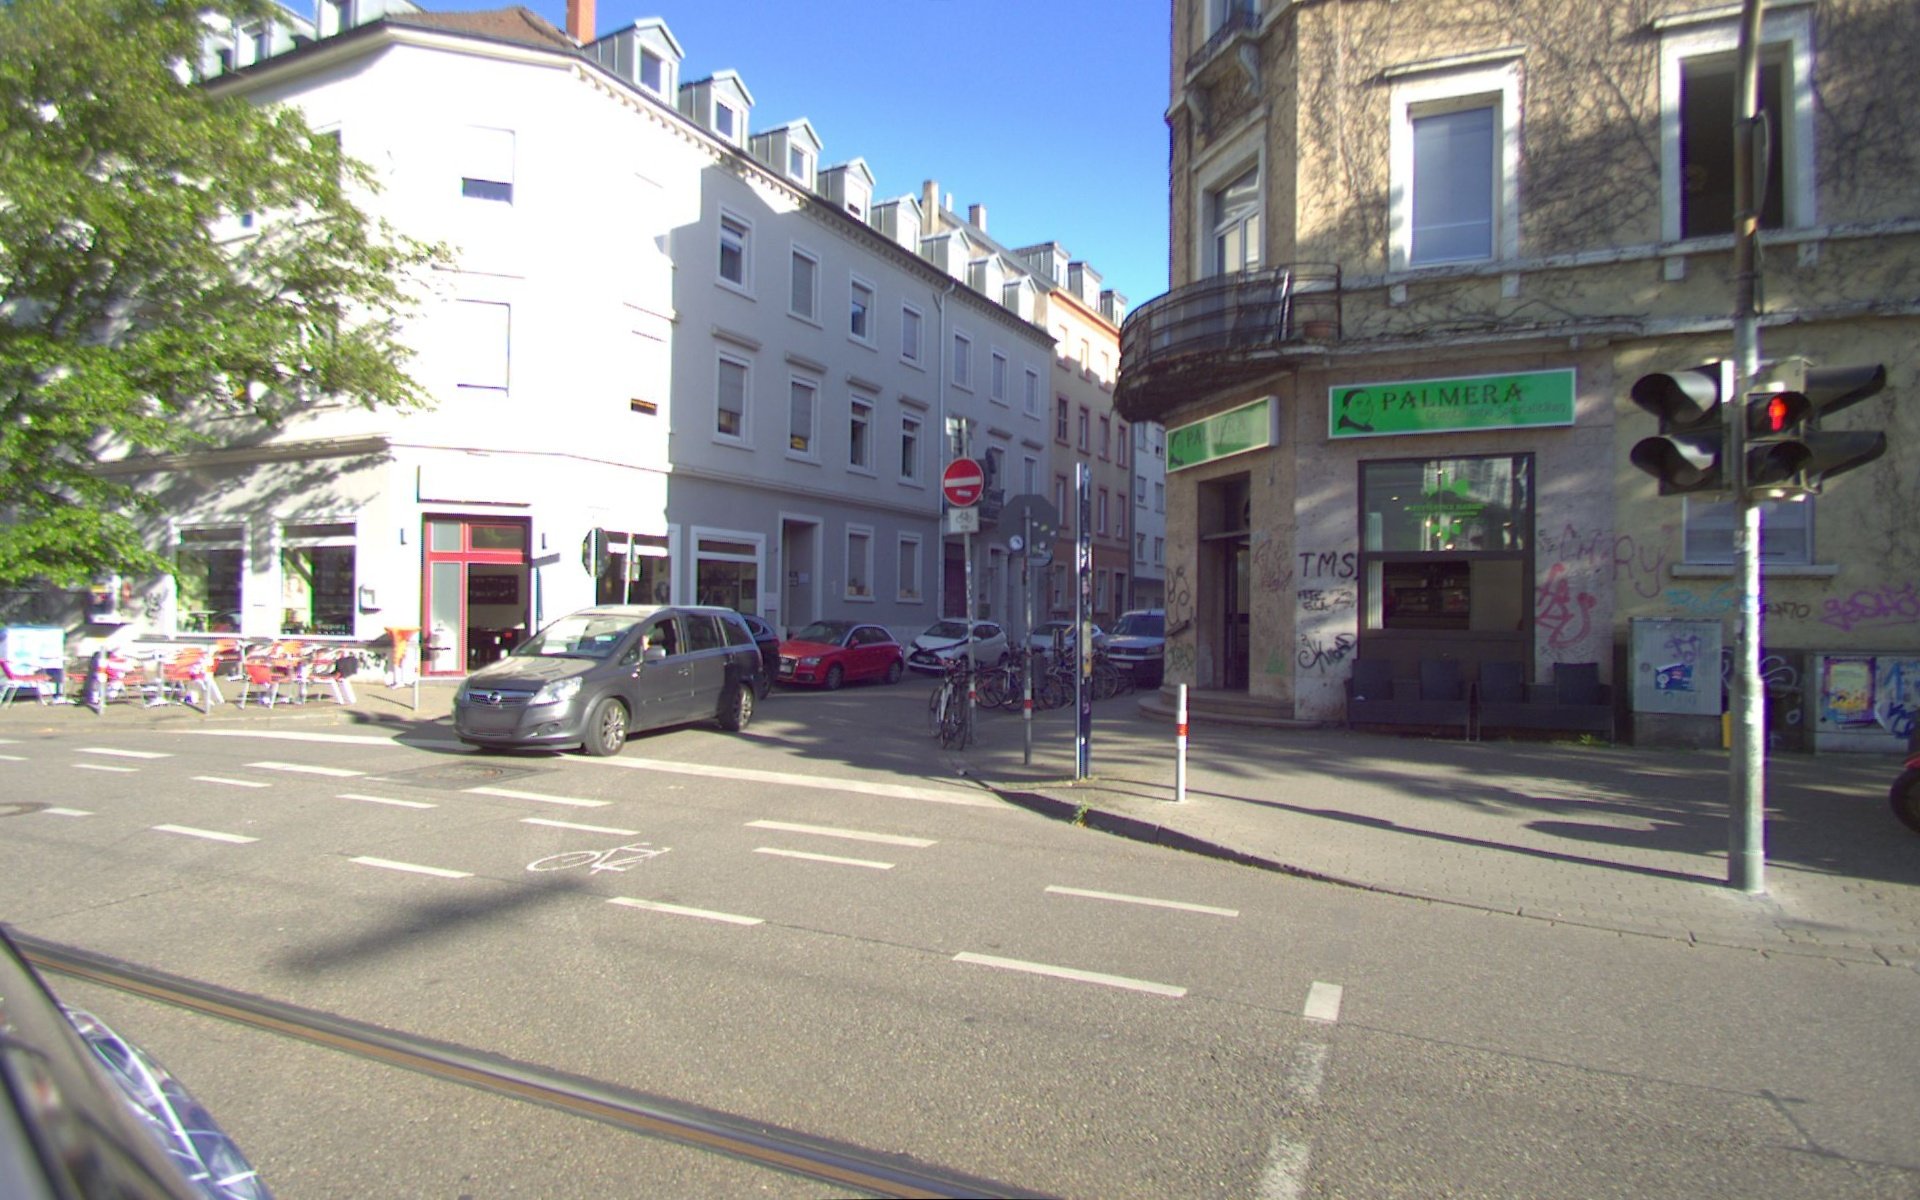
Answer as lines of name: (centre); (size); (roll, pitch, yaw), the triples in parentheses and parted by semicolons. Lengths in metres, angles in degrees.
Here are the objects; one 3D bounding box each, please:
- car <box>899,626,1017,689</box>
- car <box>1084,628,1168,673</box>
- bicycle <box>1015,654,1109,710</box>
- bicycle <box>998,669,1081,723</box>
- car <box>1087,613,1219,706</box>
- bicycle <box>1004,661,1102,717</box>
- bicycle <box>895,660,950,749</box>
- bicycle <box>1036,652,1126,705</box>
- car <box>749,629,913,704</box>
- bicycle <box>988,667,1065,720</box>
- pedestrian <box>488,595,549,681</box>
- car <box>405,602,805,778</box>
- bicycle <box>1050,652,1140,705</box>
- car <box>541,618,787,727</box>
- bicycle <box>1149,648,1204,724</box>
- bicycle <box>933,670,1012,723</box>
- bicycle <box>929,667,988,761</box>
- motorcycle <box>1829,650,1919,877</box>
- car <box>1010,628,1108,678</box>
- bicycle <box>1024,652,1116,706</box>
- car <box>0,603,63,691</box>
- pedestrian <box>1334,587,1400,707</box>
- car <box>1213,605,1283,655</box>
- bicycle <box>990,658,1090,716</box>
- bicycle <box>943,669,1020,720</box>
car: (0.022, 1.525, 27.582); (1.634, 1.599, 3.751); (-2, -2, 28)
car: (6.336, 1.871, 38.278); (1.679, 1.609, 4.144); (-2, -2, 32)
bicycle: (1.947, 1.555, 19.414); (1.763, 0.969, 0.438); (0, -2, 30)
bicycle: (1.386, 1.661, 17.650); (1.381, 0.824, 0.359); (2, -1, 21)
car: (4.761, 1.361, 24.500); (1.678, 1.924, 4.472); (3, 0, 30)
bicycle: (1.734, 1.645, 18.856); (1.756, 0.969, 0.478); (0, -2, 19)
bicycle: (-0.495, 1.284, 12.820); (0.451, 1.054, 1.691); (1, -4, -10)
bicycle: (2.391, 1.544, 20.110); (1.763, 0.969, 0.401); (0, -2, 30)
car: (-2.760, 1.412, 22.457); (1.643, 1.514, 3.916); (-2, -2, 28)
bicycle: (1.186, 1.663, 18.071); (1.303, 0.824, 0.379); (2, -1, 21)
pedestrian: (-9.638, 0.818, 22.102); (0.860, 1.813, 0.844); (0, -2, 26)
car: (-3.923, 0.950, 12.369); (1.786, 1.675, 5.150); (-1, -2, 20)
bicycle: (2.722, 1.568, 20.424); (1.763, 0.996, 0.459); (0, -2, 30)
car: (-5.036, 1.193, 17.797); (1.758, 1.675, 4.156); (-2, -2, 28)
bicycle: (3.429, 1.326, 15.961); (0.397, 1.100, 1.575); (0, -1, 30)
bicycle: (0.219, 1.638, 17.307); (1.303, 0.824, 0.369); (0, -2, 21)
bicycle: (-0.038, 1.408, 12.866); (0.443, 1.054, 1.667); (1, -2, -10)
motorcycle: (6.489, 1.044, 5.641); (0.985, 1.361, 2.425); (1, 1, -7)
car: (3.301, 1.699, 33.057); (1.677, 1.522, 4.148); (-2, -2, 29)
bicycle: (2.141, 1.534, 19.773); (1.763, 0.969, 0.418); (0, -2, 30)
car: (-18.186, 0.852, 17.568); (1.597, 1.567, 4.136); (1, 0, -1)
pedestrian: (6.122, 0.696, 15.217); (0.683, 1.754, 0.649); (2, -2, -35)
car: (15.734, 1.645, 55.021); (2.045, 2.532, 5.957); (-2, -2, 32)
bicycle: (1.451, 1.564, 18.459); (1.759, 0.969, 0.424); (0, -2, 24)
bicycle: (0.371, 1.641, 17.646); (1.303, 0.824, 0.353); (0, -2, 21)
